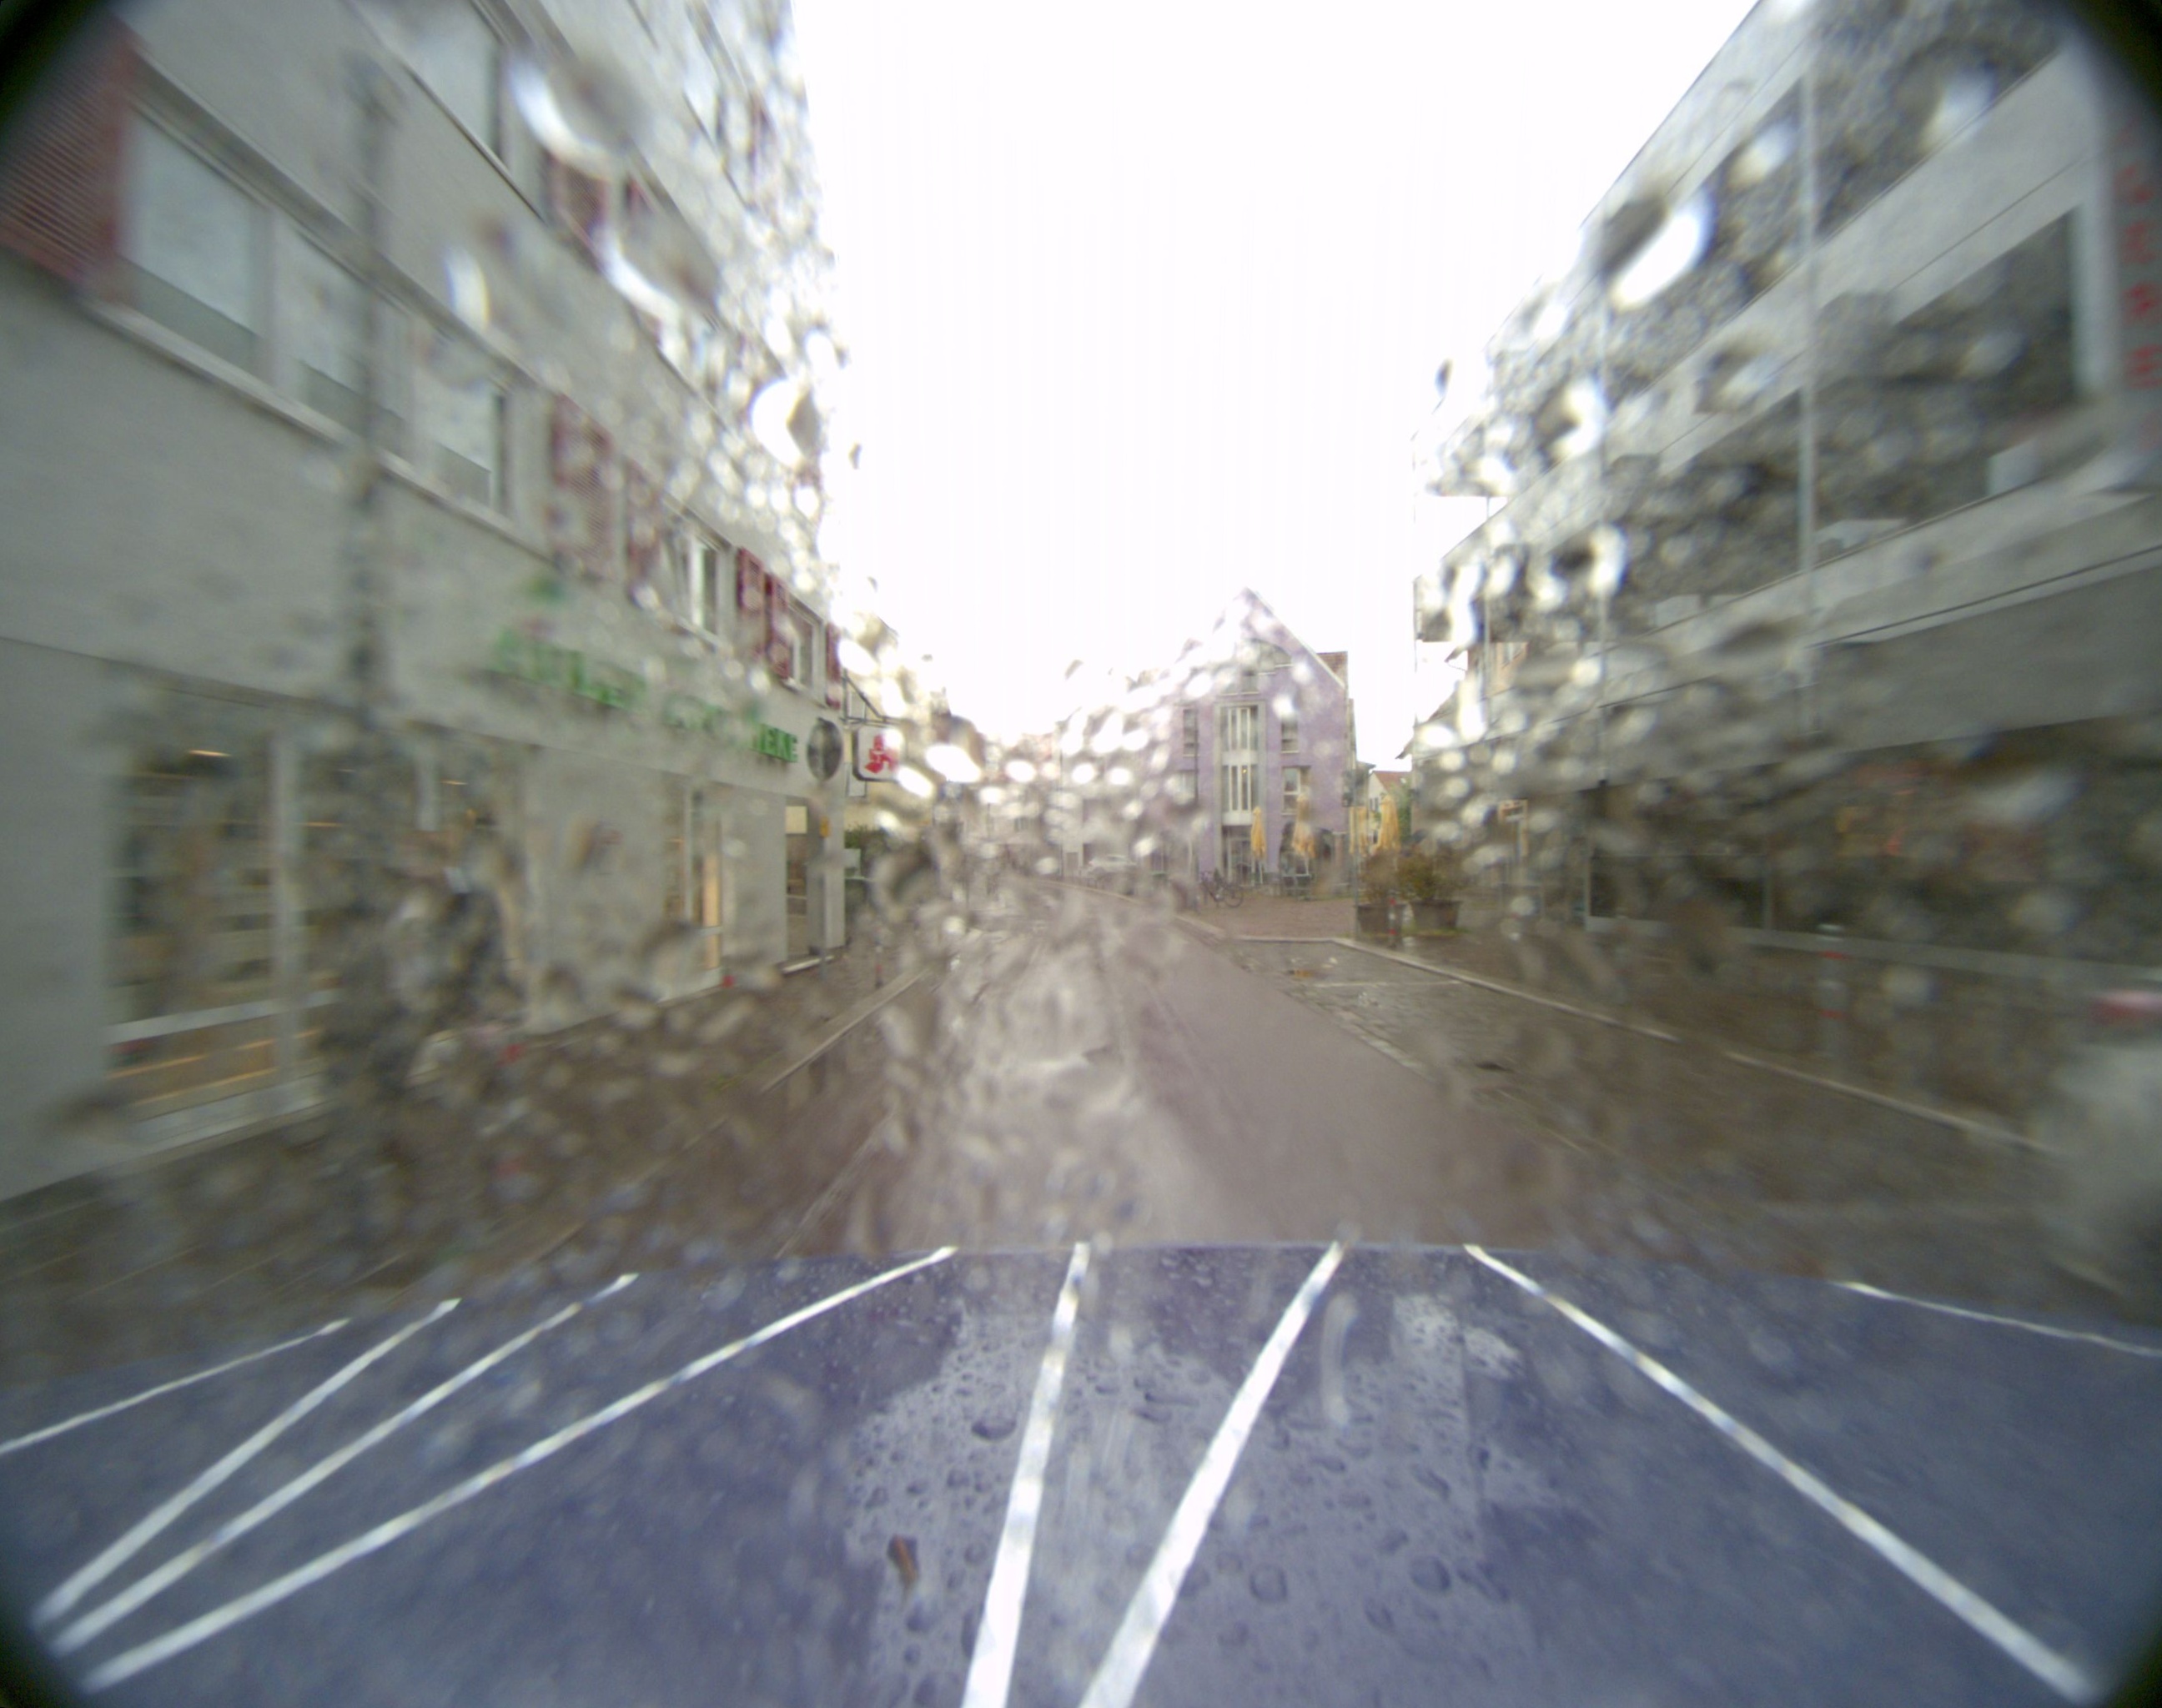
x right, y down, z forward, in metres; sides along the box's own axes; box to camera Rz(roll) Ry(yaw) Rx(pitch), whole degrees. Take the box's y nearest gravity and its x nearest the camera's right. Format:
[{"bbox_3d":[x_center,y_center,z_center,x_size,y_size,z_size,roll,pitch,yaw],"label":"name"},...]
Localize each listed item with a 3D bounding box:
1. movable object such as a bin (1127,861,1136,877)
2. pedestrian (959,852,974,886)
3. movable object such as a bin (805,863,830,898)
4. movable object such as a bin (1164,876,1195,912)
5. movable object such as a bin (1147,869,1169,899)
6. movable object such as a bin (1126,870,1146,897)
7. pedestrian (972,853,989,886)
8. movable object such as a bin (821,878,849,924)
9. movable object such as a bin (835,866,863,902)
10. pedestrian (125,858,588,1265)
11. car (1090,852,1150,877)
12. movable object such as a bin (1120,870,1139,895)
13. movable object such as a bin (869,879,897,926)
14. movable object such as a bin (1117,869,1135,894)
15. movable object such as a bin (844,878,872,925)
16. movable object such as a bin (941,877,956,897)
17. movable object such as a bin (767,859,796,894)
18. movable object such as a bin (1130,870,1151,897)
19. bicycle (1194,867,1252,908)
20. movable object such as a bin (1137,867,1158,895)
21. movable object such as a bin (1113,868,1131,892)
[{"bbox_3d":[3.108,0.931,46.853,0.488,0.983,0.573,-1,2,-1],"label":"movable object such as a bin"},{"bbox_3d":[-6.631,0.860,43.952,0.656,1.892,0.657,1,1,-27],"label":"pedestrian"},{"bbox_3d":[-8.270,0.836,23.877,0.514,1.050,0.625,0,2,1],"label":"movable object such as a bin"},{"bbox_3d":[2.896,1.173,22.366,0.689,1.014,0.631,-1,1,-18],"label":"movable object such as a bin"},{"bbox_3d":[2.906,1.126,28.685,0.689,1.070,0.669,-1,1,-9],"label":"movable object such as a bin"},{"bbox_3d":[2.362,1.249,32.494,0.689,1.099,0.669,-1,1,-9],"label":"movable object such as a bin"},{"bbox_3d":[-5.848,0.872,44.148,0.775,1.894,0.803,0,2,-27],"label":"pedestrian"},{"bbox_3d":[-5.874,1.113,18.160,0.502,1.050,0.548,1,2,-1],"label":"movable object such as a bin"},{"bbox_3d":[-7.253,0.925,23.751,0.513,1.050,0.626,3,3,29],"label":"movable object such as a bin"},{"bbox_3d":[-3.427,0.881,3.790,1.181,1.687,1.177,1,1,-3],"label":"pedestrian"},{"bbox_3d":[2.721,0.702,52.105,3.993,1.575,1.833,0,2,6],"label":"car"},{"bbox_3d":[2.159,1.247,33.623,0.689,1.074,0.669,-1,1,-9],"label":"movable object such as a bin"},{"bbox_3d":[-4.730,1.150,18.179,0.502,1.050,0.548,1,2,-1],"label":"movable object such as a bin"},{"bbox_3d":[2.034,1.234,34.570,0.689,1.080,0.712,-1,1,-9],"label":"movable object such as a bin"},{"bbox_3d":[-5.328,1.131,18.185,0.502,1.050,0.548,1,2,-1],"label":"movable object such as a bin"},{"bbox_3d":[-5.816,1.463,33.410,0.547,0.831,0.909,2,0,-6],"label":"movable object such as a bin"},{"bbox_3d":[-9.501,0.706,24.131,0.514,1.050,0.626,-2,1,17],"label":"movable object such as a bin"},{"bbox_3d":[2.484,1.237,31.774,0.689,1.099,0.669,-1,1,-9],"label":"movable object such as a bin"},{"bbox_3d":[4.310,1.011,23.042,1.753,1.158,0.443,-1,2,-20],"label":"bicycle"},{"bbox_3d":[2.658,1.084,30.526,0.689,1.067,0.669,-1,1,-9],"label":"movable object such as a bin"},{"bbox_3d":[1.921,1.217,35.310,0.689,1.072,0.676,-1,1,-9],"label":"movable object such as a bin"}]
